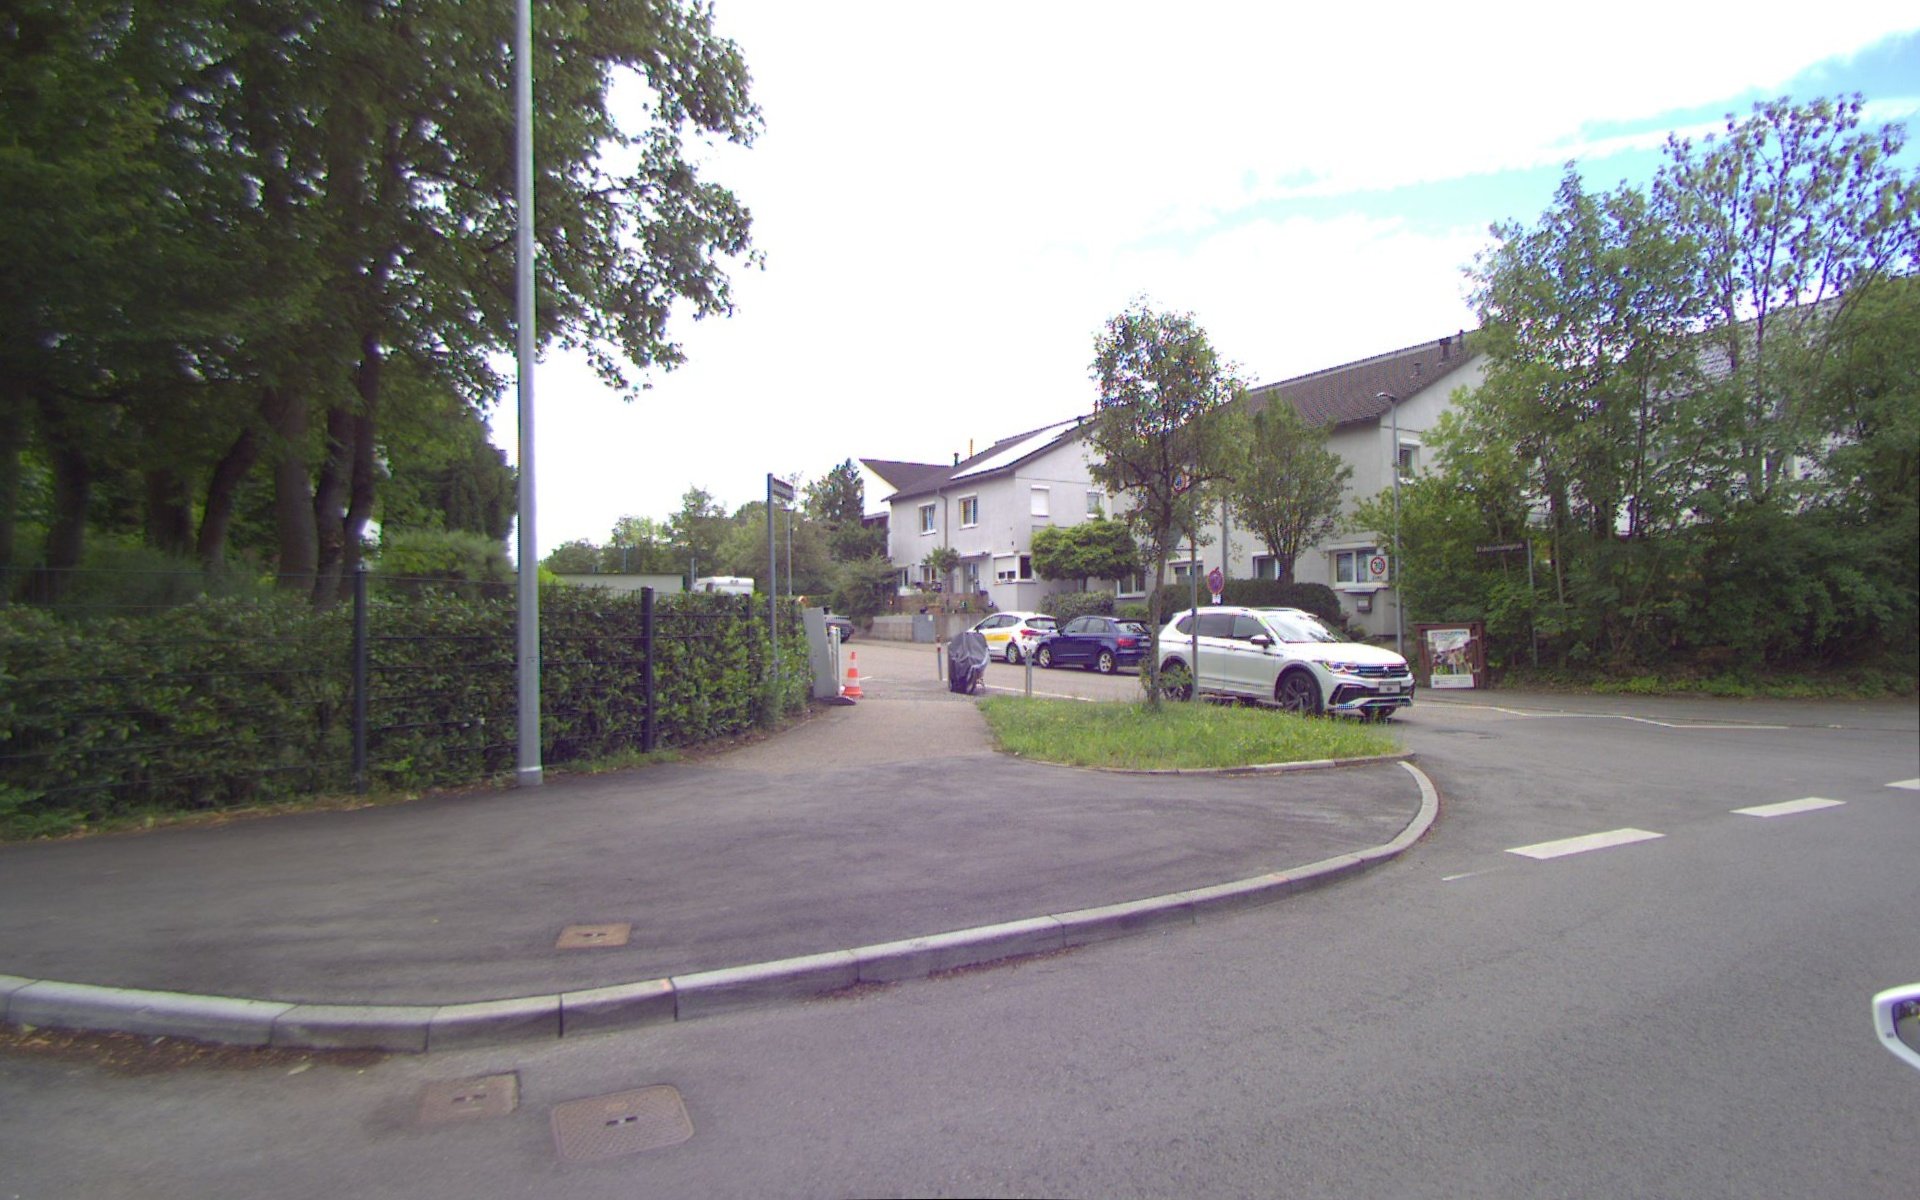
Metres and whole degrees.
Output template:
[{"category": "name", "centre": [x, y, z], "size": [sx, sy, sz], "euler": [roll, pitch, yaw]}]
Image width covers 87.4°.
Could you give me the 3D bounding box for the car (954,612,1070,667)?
[{"category": "car", "centre": [1.433, 1.098, 29.192], "size": [1.513, 1.431, 3.764], "euler": [1, 0, -31]}]

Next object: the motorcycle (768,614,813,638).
[{"category": "motorcycle", "centre": [-7.402, 1.112, 43.758], "size": [2.008, 0.977, 0.717], "euler": [1, 0, 35]}]

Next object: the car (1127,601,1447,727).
[{"category": "car", "centre": [5.032, 0.899, 16.272], "size": [2.012, 1.692, 4.915], "euler": [2, -1, -28]}]

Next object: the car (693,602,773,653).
[{"category": "car", "centre": [-7.608, 0.865, 33.384], "size": [1.740, 1.549, 3.942], "euler": [1, 0, -26]}]

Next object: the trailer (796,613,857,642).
[{"category": "trailer", "centre": [-5.498, 1.113, 41.075], "size": [1.461, 1.111, 3.360], "euler": [1, 0, -27]}]

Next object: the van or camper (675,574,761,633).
[{"category": "van or camper", "centre": [-12.972, 0.168, 53.334], "size": [2.280, 2.883, 7.557], "euler": [1, 0, -31]}]

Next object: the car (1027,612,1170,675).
[{"category": "car", "centre": [3.445, 1.049, 25.478], "size": [1.655, 1.431, 3.517], "euler": [1, 0, -35]}]

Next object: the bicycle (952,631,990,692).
[{"category": "bicycle", "centre": [0.244, 1.140, 19.287], "size": [0.639, 1.015, 2.586], "euler": [1, -1, 2]}]
